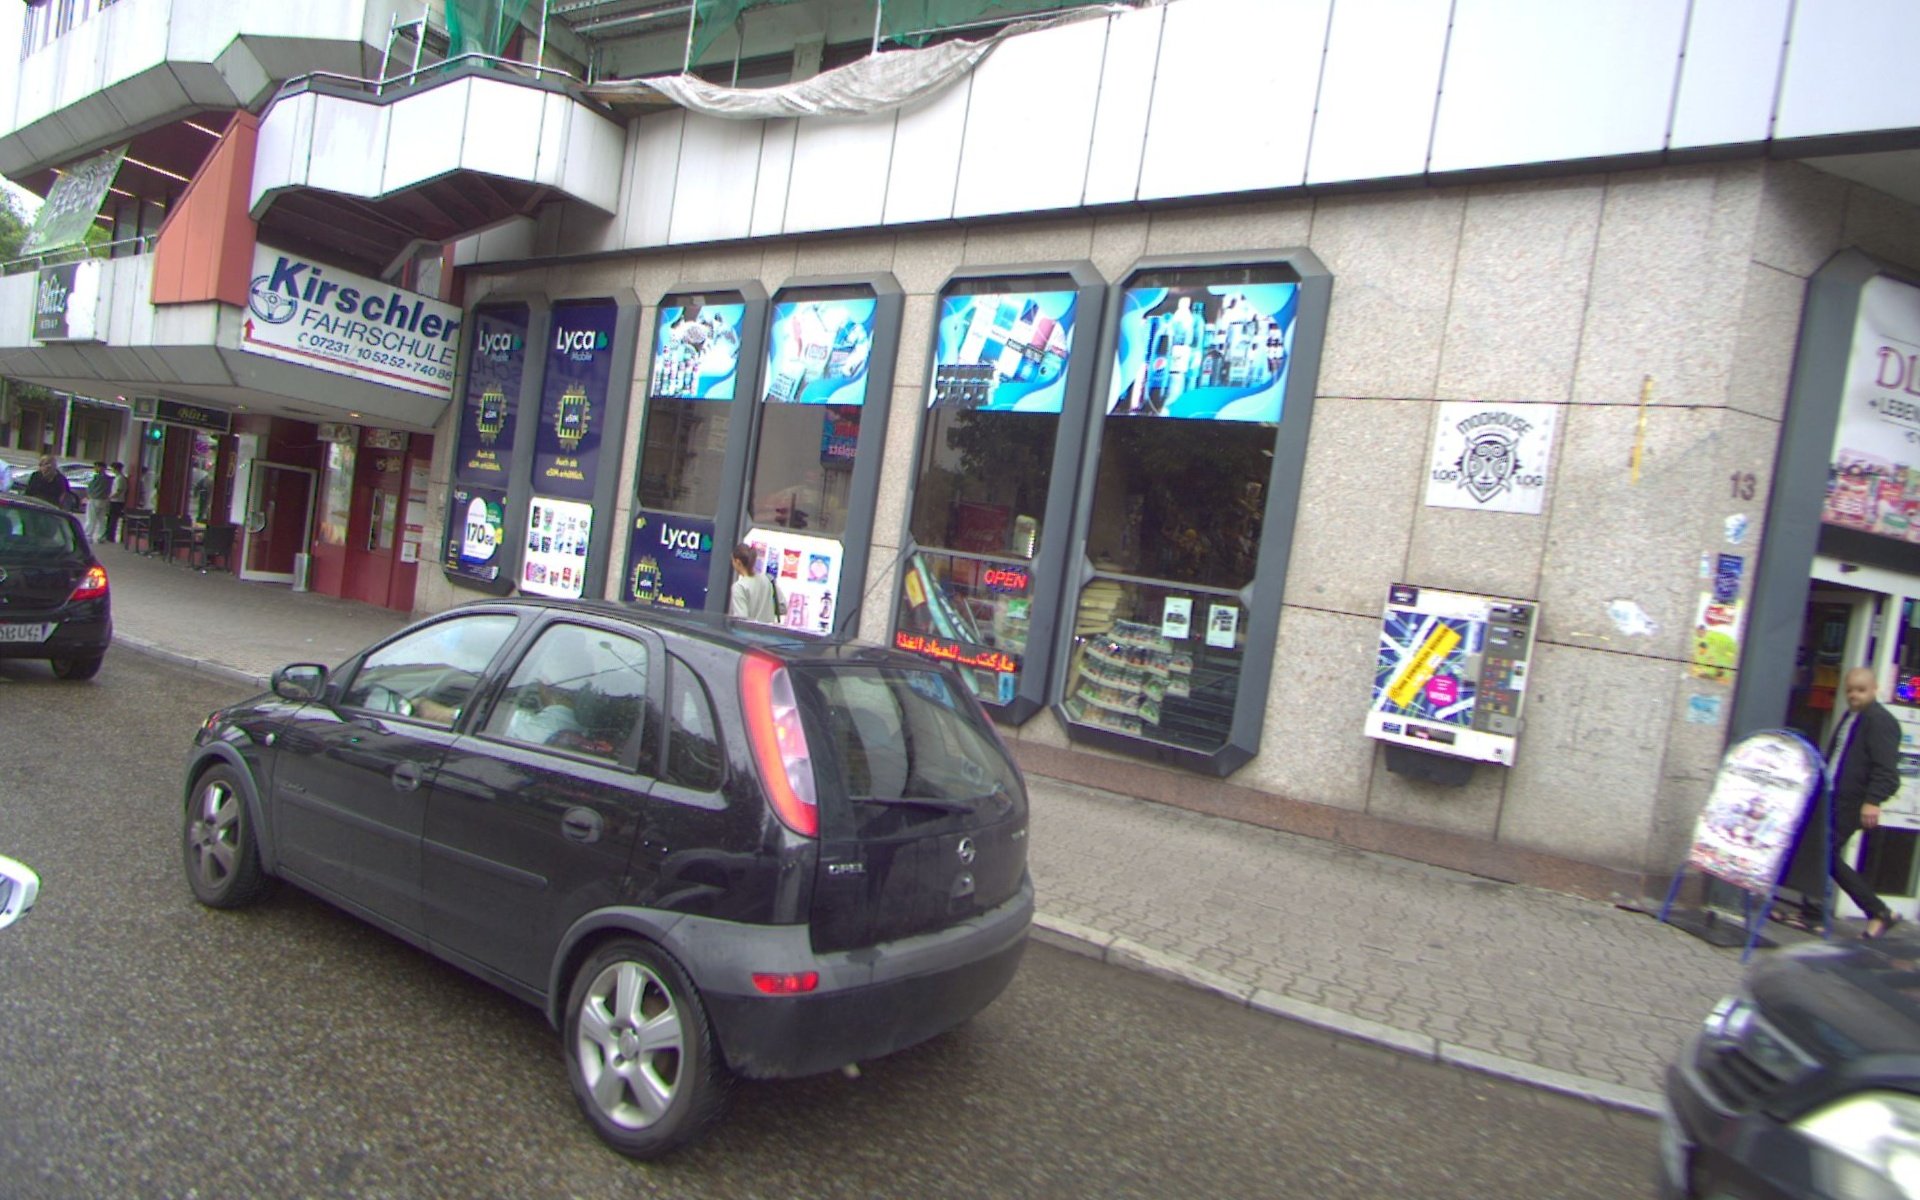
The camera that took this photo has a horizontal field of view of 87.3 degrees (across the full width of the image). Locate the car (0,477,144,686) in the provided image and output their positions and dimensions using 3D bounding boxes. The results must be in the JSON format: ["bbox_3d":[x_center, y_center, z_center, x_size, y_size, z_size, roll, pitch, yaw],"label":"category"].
[{"bbox_3d":[-8.678,-0.354,8.300,3.678,1.475,1.711,9,0,30],"label":"car"}]

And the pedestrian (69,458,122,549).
[{"bbox_3d":[-18.127,-2.017,21.094,0.484,1.785,0.596,7,1,30],"label":"pedestrian"}]

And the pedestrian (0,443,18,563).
[{"bbox_3d":[-15.536,-1.584,15.941,0.834,1.870,0.622,7,1,36],"label":"pedestrian"}]

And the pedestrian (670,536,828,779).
[{"bbox_3d":[-1.714,0.423,8.198,0.792,1.805,0.894,7,6,33],"label":"pedestrian"}]

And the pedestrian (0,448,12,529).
[{"bbox_3d":[-21.453,-2.498,22.123,0.954,1.729,0.588,10,4,32],"label":"pedestrian"}]

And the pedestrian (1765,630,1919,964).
[{"bbox_3d":[5.447,1.133,5.973,0.580,1.805,0.652,8,6,15],"label":"pedestrian"}]

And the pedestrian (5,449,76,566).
[{"bbox_3d":[-15.053,-1.511,16.473,0.667,1.795,0.622,7,1,36],"label":"pedestrian"}]

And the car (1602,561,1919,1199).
[{"bbox_3d":[3.273,1.034,1.073,4.179,1.699,1.733,6,-1,32],"label":"car"}]

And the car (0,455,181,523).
[{"bbox_3d":[-27.780,-3.496,32.130,1.754,1.438,4.273,9,1,17],"label":"car"}]

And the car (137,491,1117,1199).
[{"bbox_3d":[-1.441,0.580,3.927,3.567,1.459,1.594,10,1,32],"label":"car"}]

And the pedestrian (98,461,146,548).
[{"bbox_3d":[-18.126,-2.063,21.750,0.503,1.785,0.527,7,1,30],"label":"pedestrian"}]
